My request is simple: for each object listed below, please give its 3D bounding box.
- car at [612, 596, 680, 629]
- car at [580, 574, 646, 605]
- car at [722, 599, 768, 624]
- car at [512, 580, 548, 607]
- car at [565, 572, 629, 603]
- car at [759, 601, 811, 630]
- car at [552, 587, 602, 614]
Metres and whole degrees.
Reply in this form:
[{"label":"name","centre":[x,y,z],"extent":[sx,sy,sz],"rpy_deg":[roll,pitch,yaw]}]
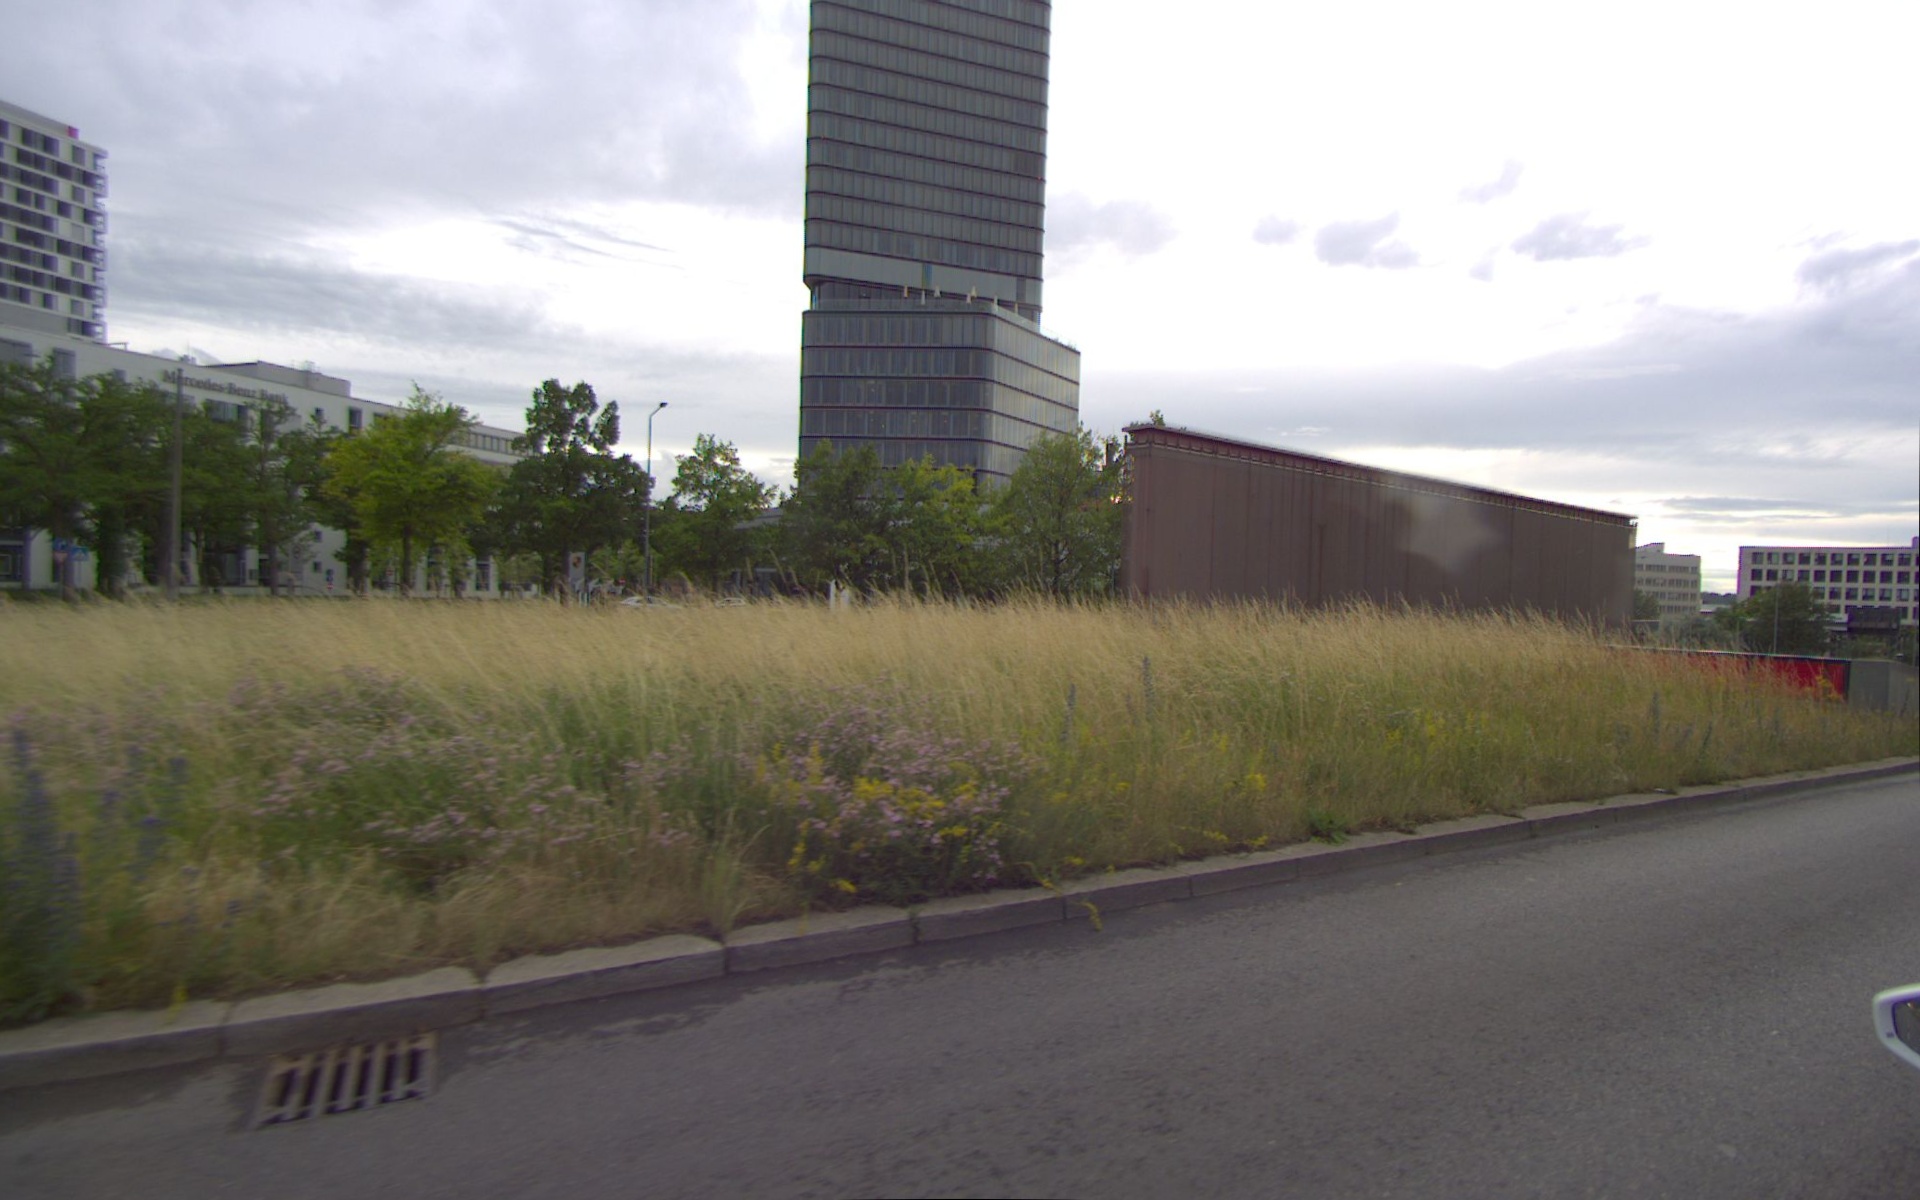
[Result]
[{"label":"car","centre":[-21.439,0.852,68.700],"extent":[3.965,2.041,1.978],"rpy_deg":[0,4,-39]},{"label":"car","centre":[-24.491,-0.712,70.837],"extent":[3.964,2.041,1.978],"rpy_deg":[0,4,-38]},{"label":"car","centre":[-19.170,1.009,89.580],"extent":[3.931,2.041,1.995],"rpy_deg":[2,3,-13]},{"label":"car","centre":[-40.756,-0.578,95.266],"extent":[1.864,1.694,3.720],"rpy_deg":[-5,-11,-4]},{"label":"car","centre":[-26.388,-0.901,73.009],"extent":[3.964,2.041,1.978],"rpy_deg":[0,4,-38]},{"label":"car","centre":[-14.052,1.240,80.770],"extent":[3.926,2.041,1.997],"rpy_deg":[2,3,-8]},{"label":"car","centre":[-29.882,-0.005,78.499],"extent":[1.959,1.874,4.001],"rpy_deg":[3,3,7]}]
